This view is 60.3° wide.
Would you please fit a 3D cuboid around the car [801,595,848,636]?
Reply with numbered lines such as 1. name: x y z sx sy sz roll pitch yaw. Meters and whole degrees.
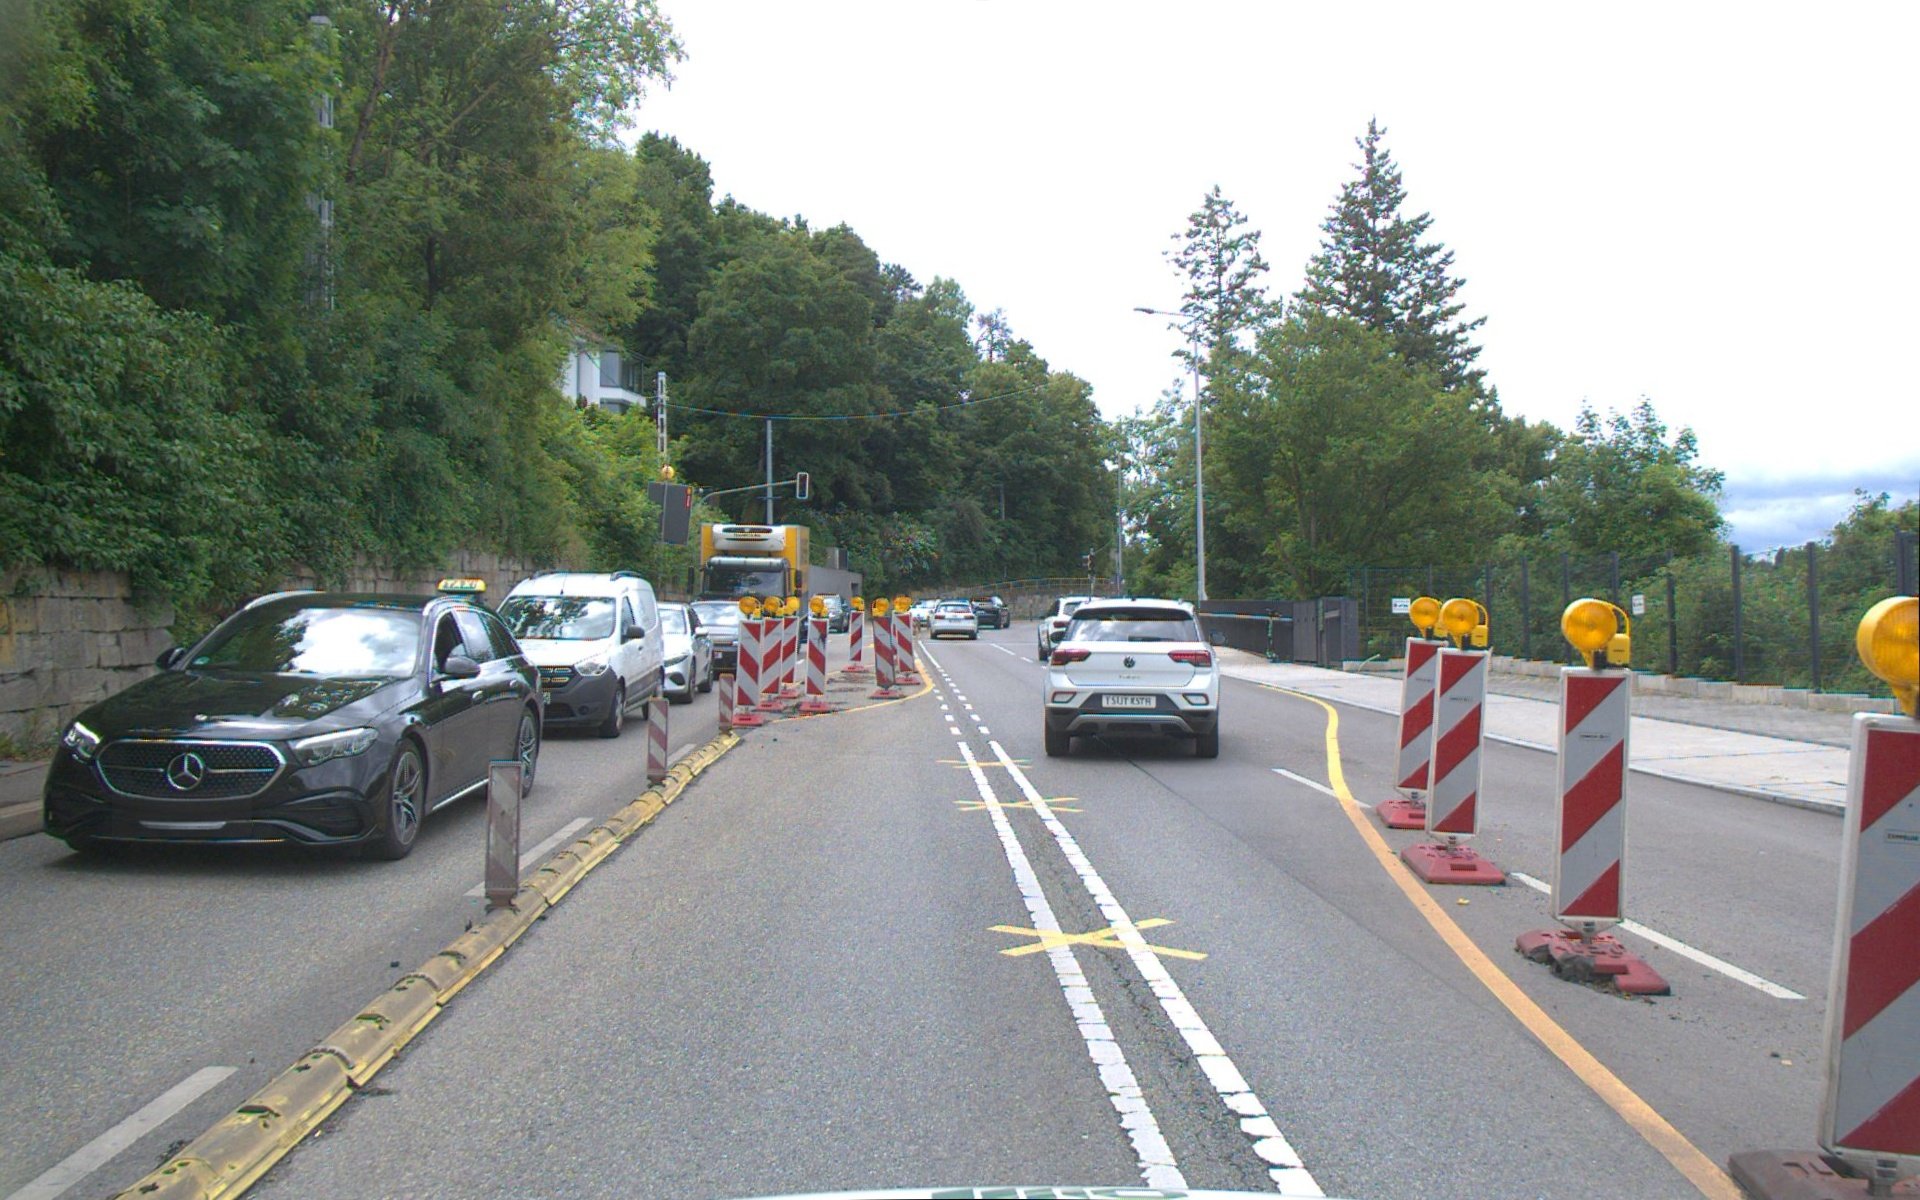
1. car: -5.983 0.677 73.410 1.845 1.727 4.669 0 0 -2

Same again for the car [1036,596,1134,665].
1. car: 3.103 0.750 41.693 1.954 1.614 3.997 2 0 -3

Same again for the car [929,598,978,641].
1. car: -0.252 0.783 65.763 1.867 1.601 4.000 2 0 0

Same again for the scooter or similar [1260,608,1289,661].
1. scooter or similar: 7.661 0.828 40.318 0.523 1.248 1.207 -2 1 4

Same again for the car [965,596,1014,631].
1. car: 1.557 0.711 85.685 1.777 1.719 4.003 1 -1 12

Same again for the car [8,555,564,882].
1. car: -3.982 0.620 10.743 1.794 1.620 4.652 2 0 -2

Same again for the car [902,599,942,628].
1. car: -2.019 0.729 89.368 1.675 1.492 3.663 1 0 6

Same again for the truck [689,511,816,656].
1. truck: -5.451 -0.389 44.543 2.676 3.571 7.347 0 0 -2

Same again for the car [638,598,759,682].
1. car: -4.989 0.732 32.140 1.735 1.467 4.743 2 0 -2

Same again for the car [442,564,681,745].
1. car: -4.483 0.584 19.269 1.766 1.822 4.341 2 0 -1

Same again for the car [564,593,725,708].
1. car: -4.634 0.703 24.839 1.755 1.534 4.309 2 0 -3

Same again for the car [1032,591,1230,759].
1. car: 1.912 0.710 17.493 1.827 1.563 3.806 0 0 10

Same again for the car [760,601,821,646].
1. car: -5.775 0.773 56.879 1.773 1.455 4.872 1 0 -2
